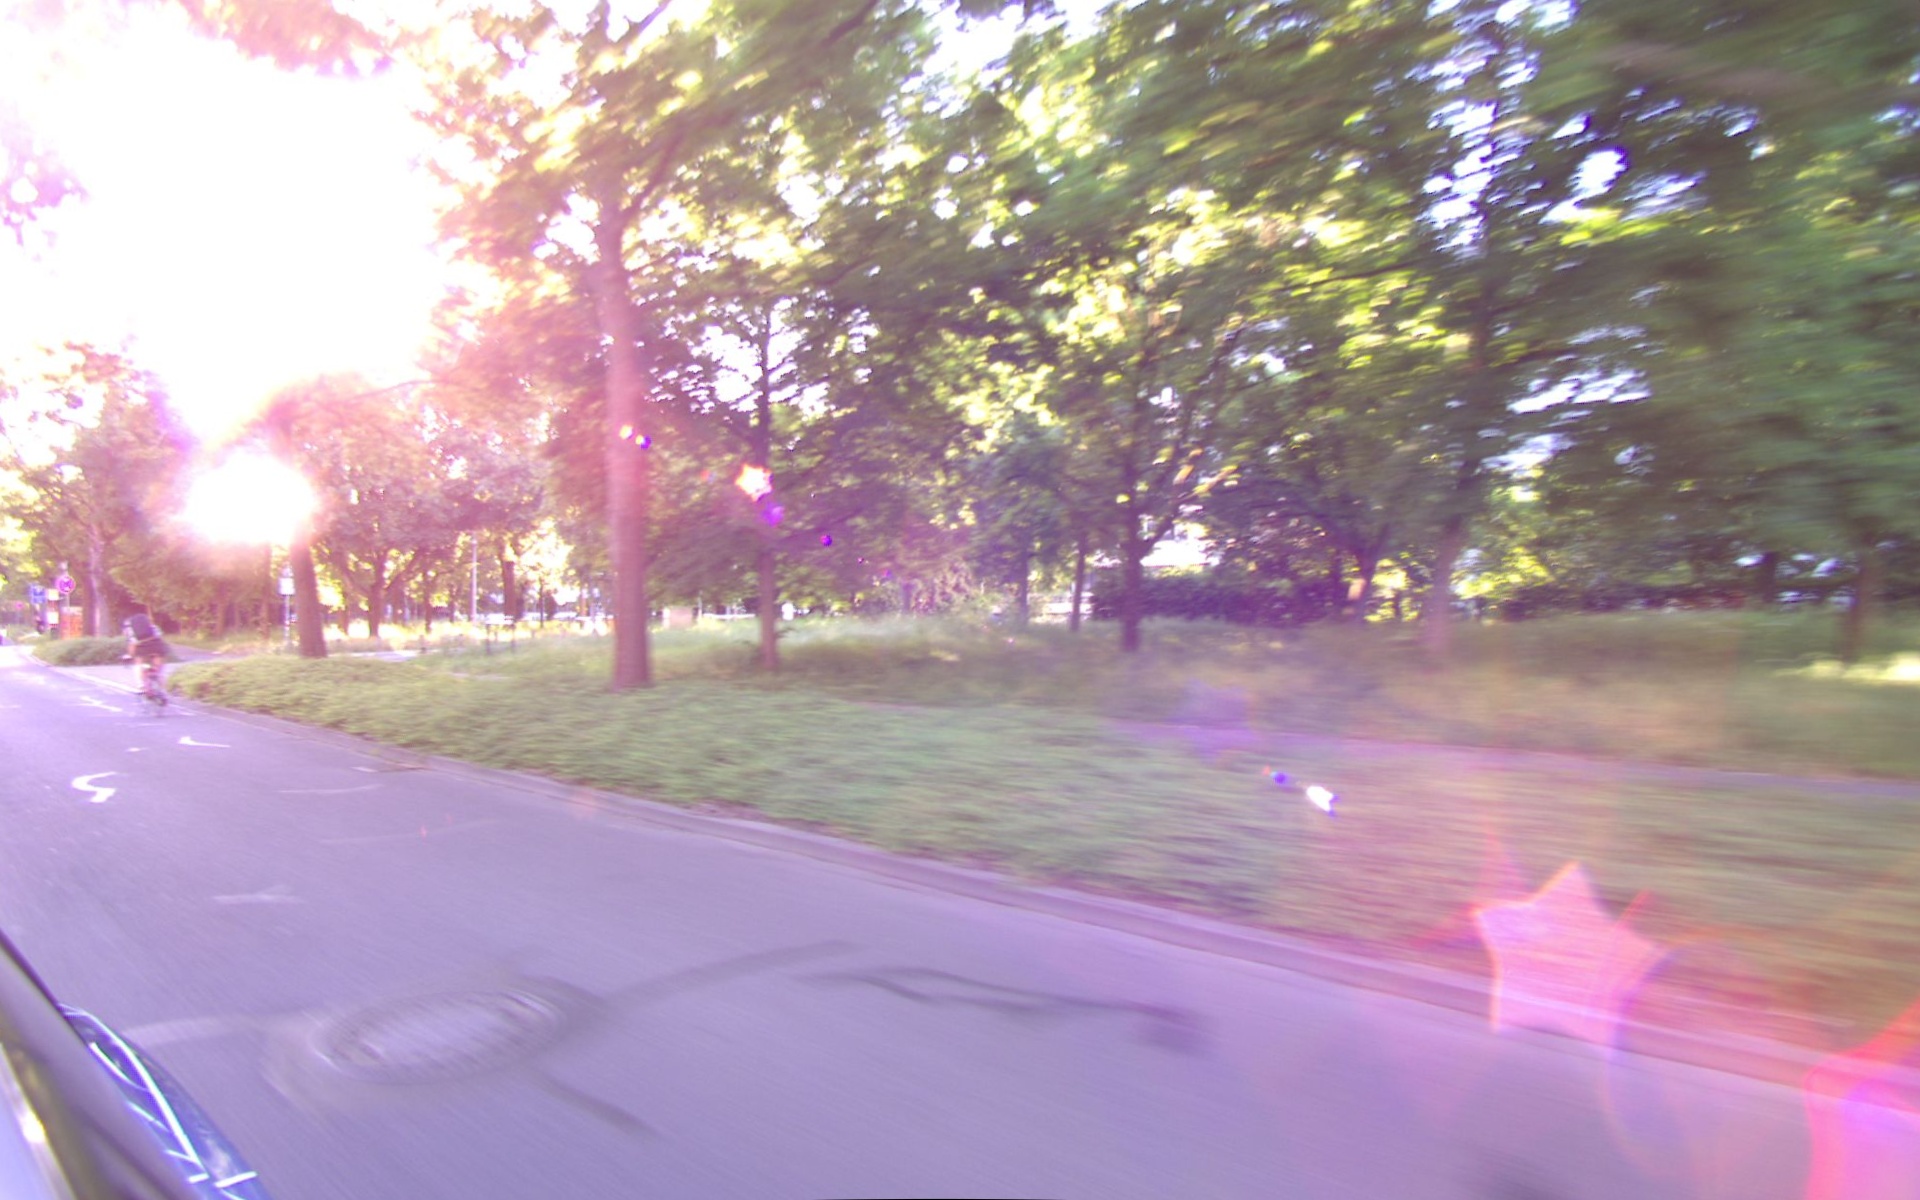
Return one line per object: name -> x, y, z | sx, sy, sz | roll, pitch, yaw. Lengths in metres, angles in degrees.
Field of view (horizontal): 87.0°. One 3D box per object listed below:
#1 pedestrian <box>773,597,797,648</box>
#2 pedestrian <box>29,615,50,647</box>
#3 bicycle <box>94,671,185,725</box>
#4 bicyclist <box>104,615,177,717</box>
pedestrian -> -7.066, 0.893, 40.890 | 0.589, 2.029, 0.749 | -1, -1, 38
pedestrian -> -54.921, 1.852, 60.373 | 0.720, 1.835, 0.893 | -2, -1, 43
bicycle -> -13.133, 1.537, 16.177 | 2.122, 0.747, 0.633 | -1, -3, 37
bicyclist -> -13.119, 1.043, 16.199 | 1.001, 1.567, 0.627 | -1, -3, 37
